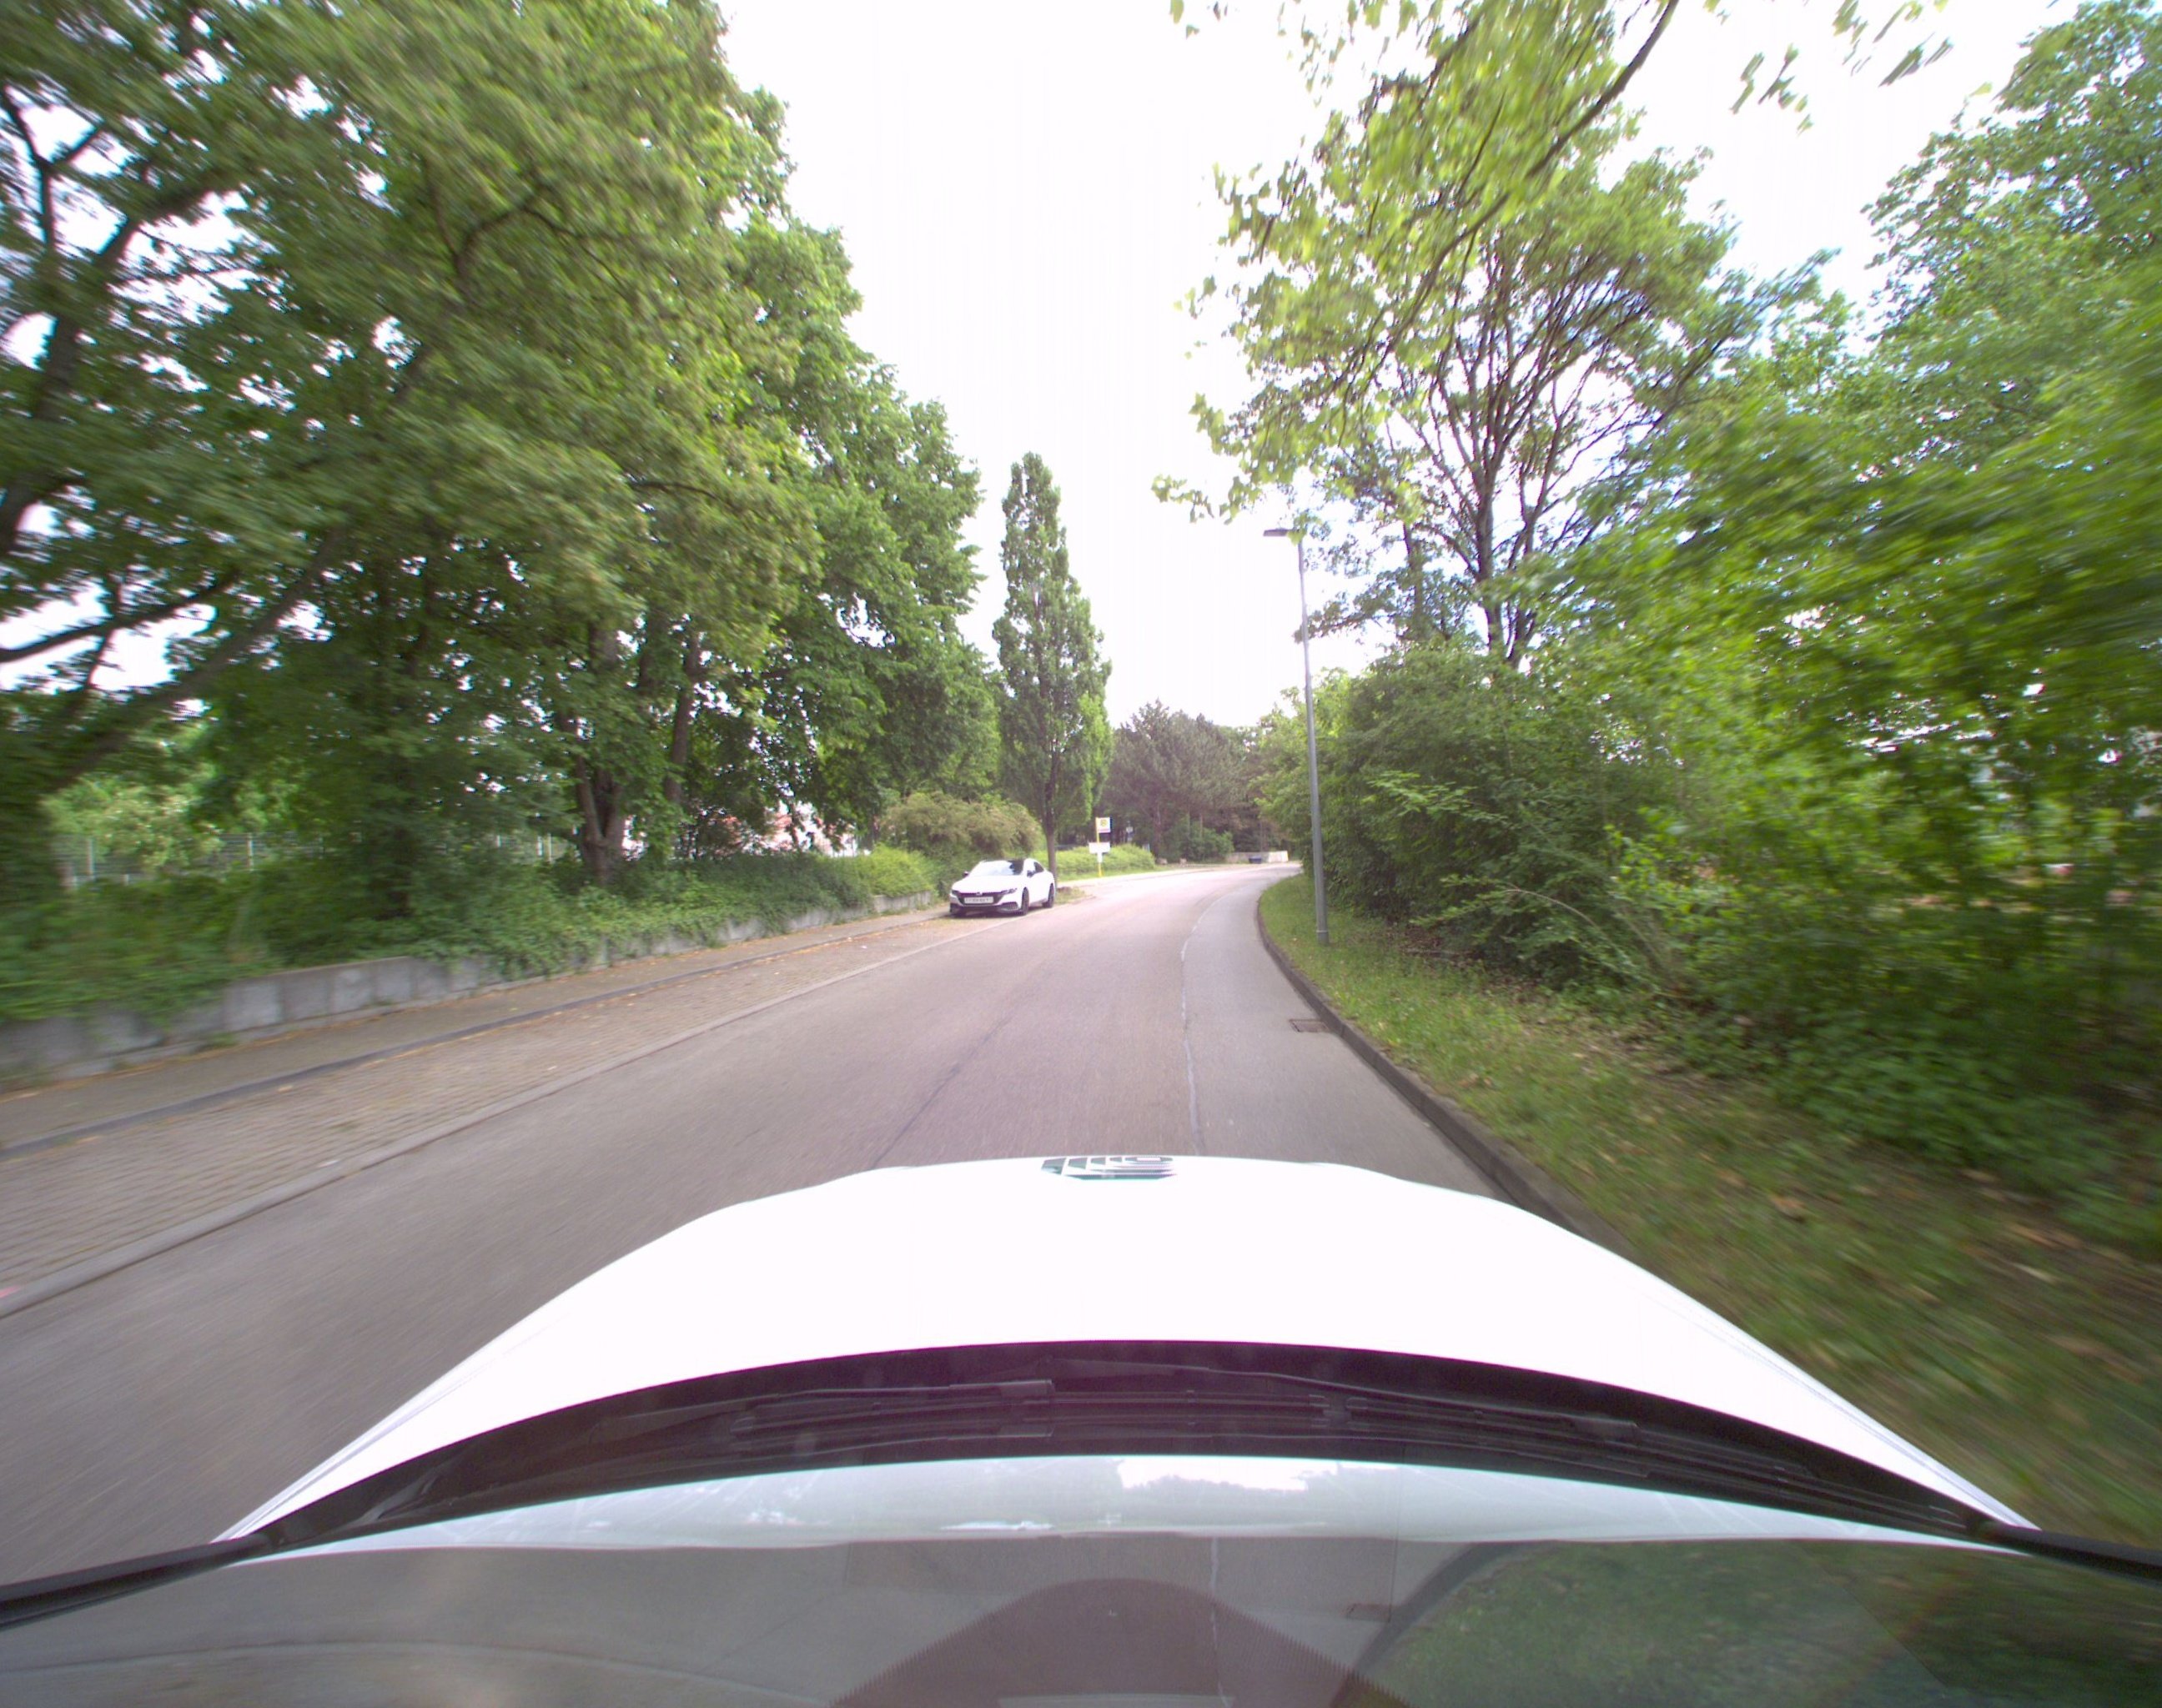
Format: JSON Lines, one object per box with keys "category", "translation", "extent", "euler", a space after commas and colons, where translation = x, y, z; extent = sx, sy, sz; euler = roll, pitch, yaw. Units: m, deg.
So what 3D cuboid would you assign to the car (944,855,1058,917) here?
{"category": "car", "translation": [-1.964, 0.765, 21.416], "extent": [1.802, 1.424, 4.373], "euler": [-1, 0, 11]}
